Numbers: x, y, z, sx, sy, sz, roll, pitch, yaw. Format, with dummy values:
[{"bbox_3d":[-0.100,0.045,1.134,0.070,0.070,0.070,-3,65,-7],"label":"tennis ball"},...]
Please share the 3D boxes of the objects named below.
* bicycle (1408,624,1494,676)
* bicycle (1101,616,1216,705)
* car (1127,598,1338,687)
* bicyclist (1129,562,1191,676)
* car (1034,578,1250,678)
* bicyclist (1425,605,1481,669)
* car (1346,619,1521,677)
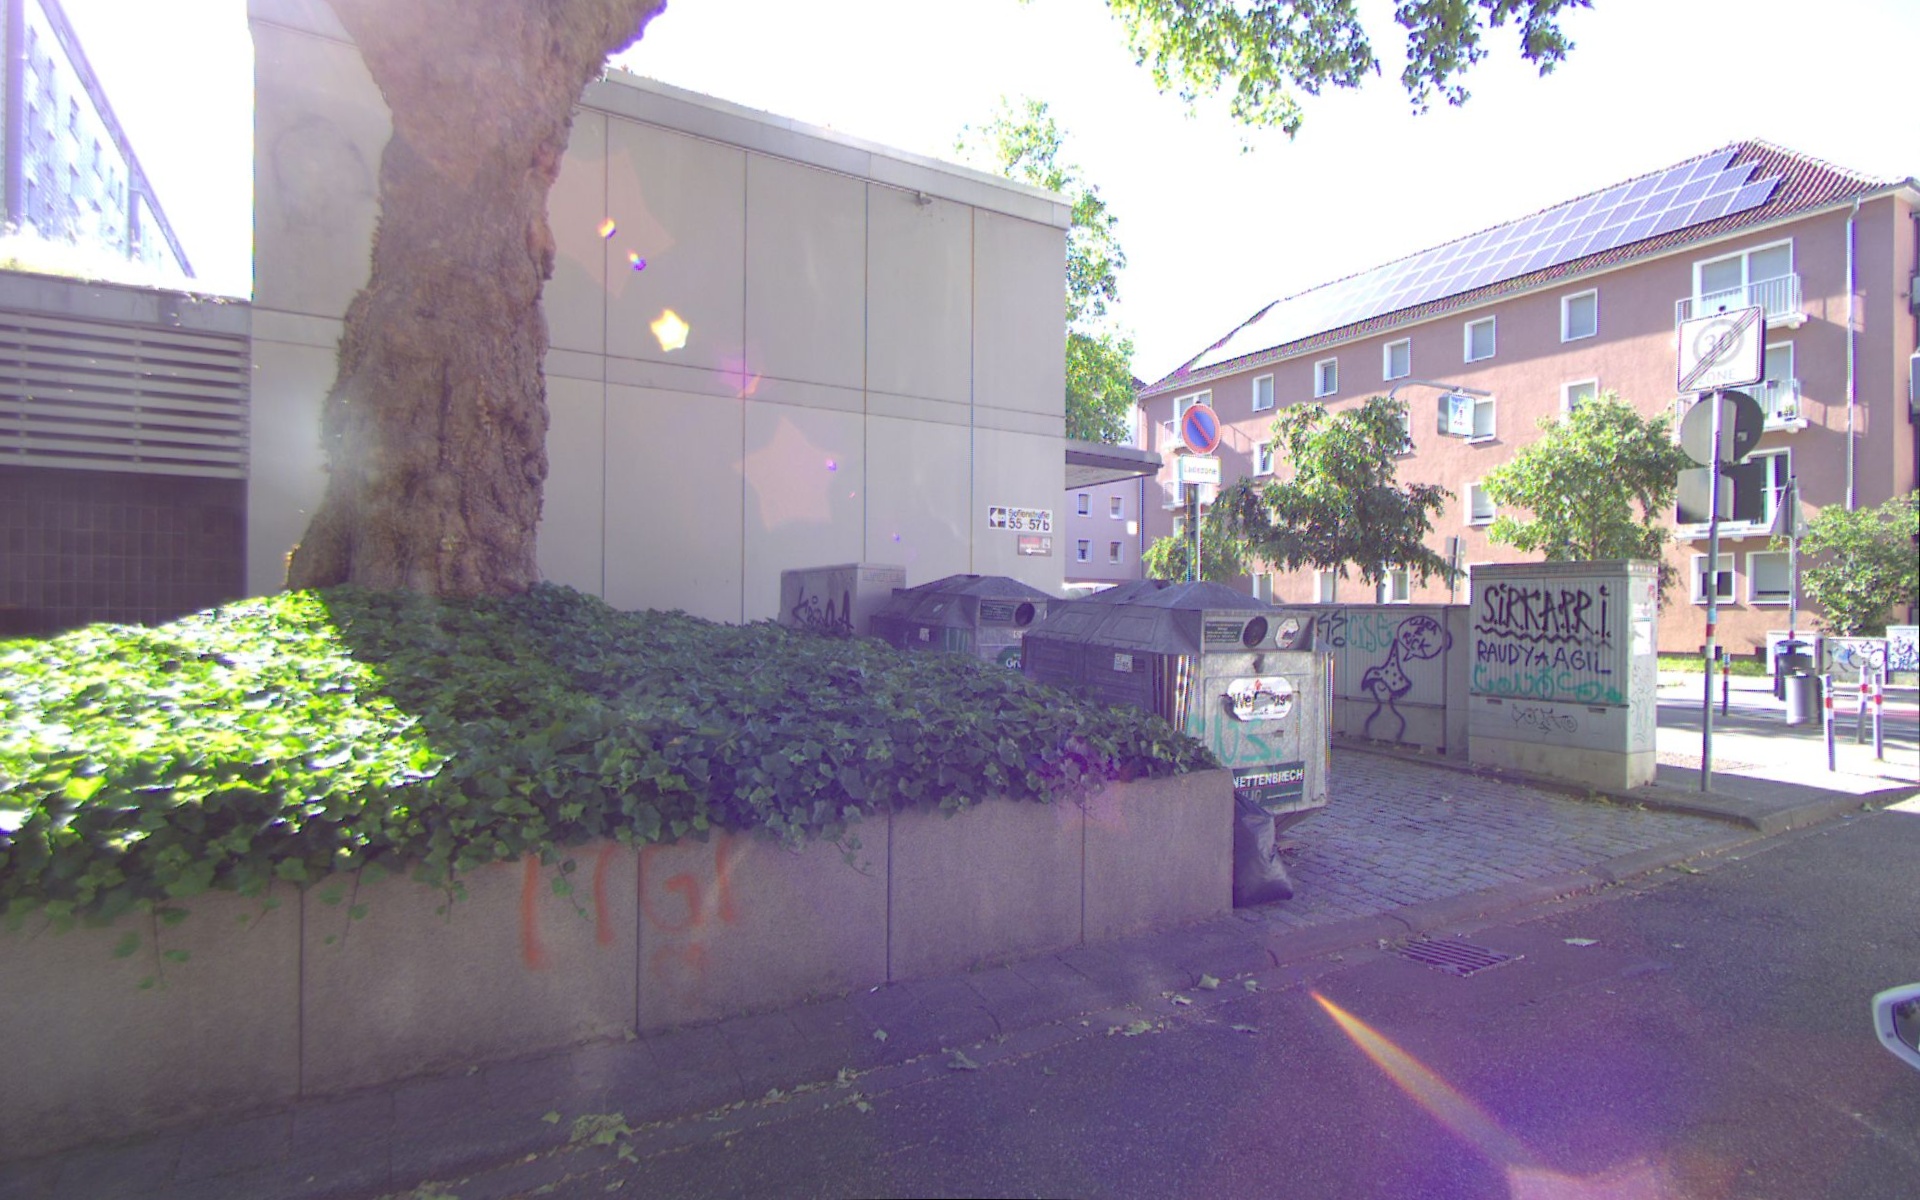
[{"bbox_3d":[12.266,1.226,25.158,0.622,1.213,1.938,1,-1,-30],"label":"bicycle"},{"bbox_3d":[2.894,0.839,14.566,1.706,1.168,0.794,1,1,-45],"label":"bicycle"},{"bbox_3d":[5.561,0.815,20.346,4.256,1.634,1.743,1,-1,-32],"label":"car"},{"bbox_3d":[2.908,0.273,14.584,0.696,1.605,0.531,-1,-1,45],"label":"bicyclist"},{"bbox_3d":[4.127,0.680,22.469,4.695,2.032,1.942,3,-2,-33],"label":"car"},{"bbox_3d":[12.290,0.909,25.036,0.730,1.539,1.037,1,-1,-30],"label":"bicyclist"},{"bbox_3d":[12.937,1.258,27.678,1.726,1.473,4.121,1,-1,-31],"label":"car"}]
